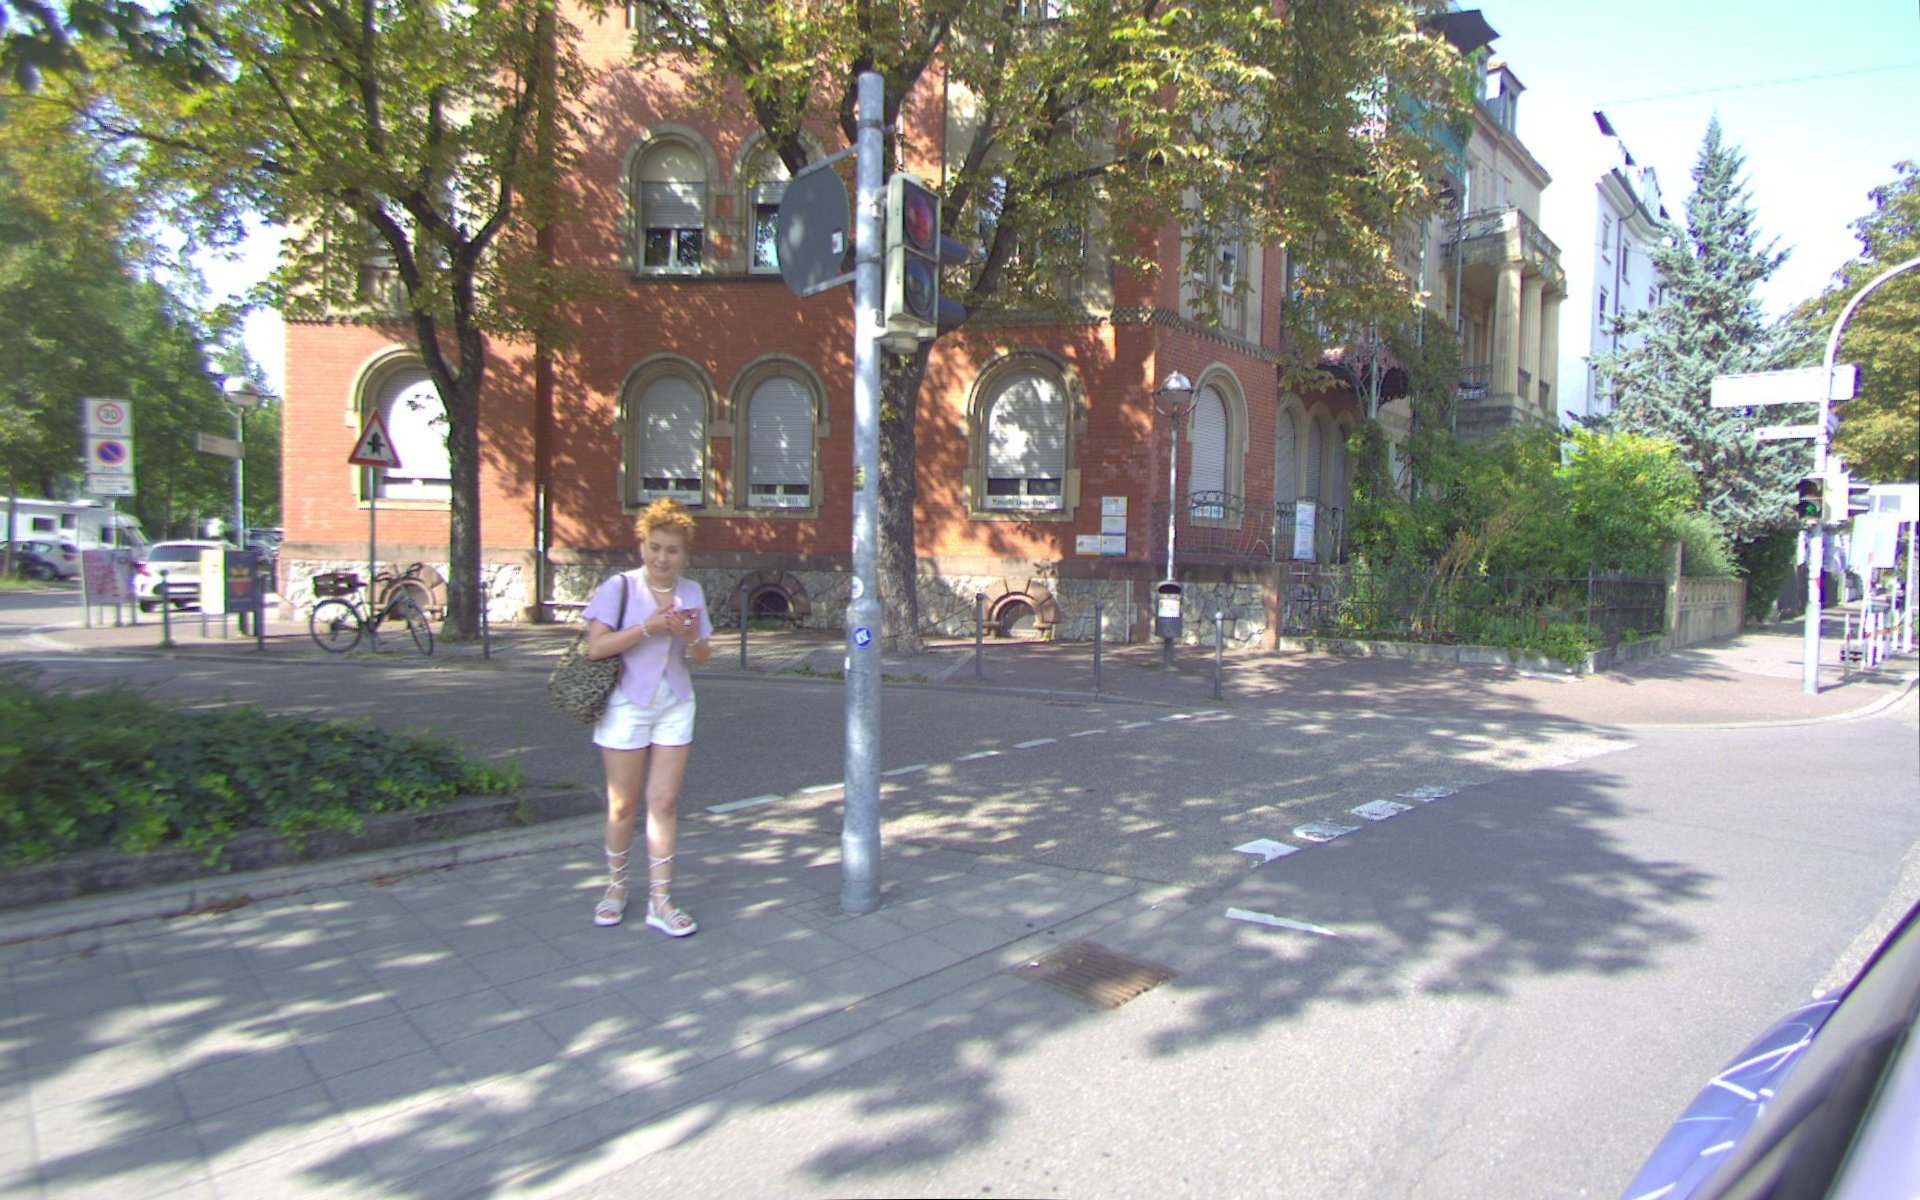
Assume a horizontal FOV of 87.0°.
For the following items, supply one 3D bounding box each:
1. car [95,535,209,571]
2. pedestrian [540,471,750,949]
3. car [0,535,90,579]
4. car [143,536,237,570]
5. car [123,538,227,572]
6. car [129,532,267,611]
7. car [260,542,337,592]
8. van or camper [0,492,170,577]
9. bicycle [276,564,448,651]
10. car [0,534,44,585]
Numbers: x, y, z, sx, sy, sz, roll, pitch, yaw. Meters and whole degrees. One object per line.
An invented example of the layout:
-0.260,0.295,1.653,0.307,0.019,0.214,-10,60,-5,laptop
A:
-37.819,-2.180,47.482,3.941,1.385,1.665,4,1,-31,car
-1.275,0.391,4.082,0.649,1.739,0.544,0,2,-37,pedestrian
-33.673,-1.592,35.914,3.941,1.385,1.665,4,1,-31,car
-43.288,-2.636,56.980,3.941,1.611,1.665,4,1,-31,car
-40.179,-2.300,51.898,3.941,1.454,1.665,4,1,-31,car
-16.707,-0.657,22.374,1.588,1.586,4.009,0,2,-24,car
-22.371,-1.144,34.362,1.588,1.586,4.009,0,2,-24,car
-35.889,-2.595,40.103,6.799,2.919,2.003,3,-2,-26,van or camper
-7.587,0.092,12.897,1.803,1.072,0.609,0,-1,-4,bicycle
-30.666,-1.353,30.715,3.941,1.480,1.665,4,1,-31,car
